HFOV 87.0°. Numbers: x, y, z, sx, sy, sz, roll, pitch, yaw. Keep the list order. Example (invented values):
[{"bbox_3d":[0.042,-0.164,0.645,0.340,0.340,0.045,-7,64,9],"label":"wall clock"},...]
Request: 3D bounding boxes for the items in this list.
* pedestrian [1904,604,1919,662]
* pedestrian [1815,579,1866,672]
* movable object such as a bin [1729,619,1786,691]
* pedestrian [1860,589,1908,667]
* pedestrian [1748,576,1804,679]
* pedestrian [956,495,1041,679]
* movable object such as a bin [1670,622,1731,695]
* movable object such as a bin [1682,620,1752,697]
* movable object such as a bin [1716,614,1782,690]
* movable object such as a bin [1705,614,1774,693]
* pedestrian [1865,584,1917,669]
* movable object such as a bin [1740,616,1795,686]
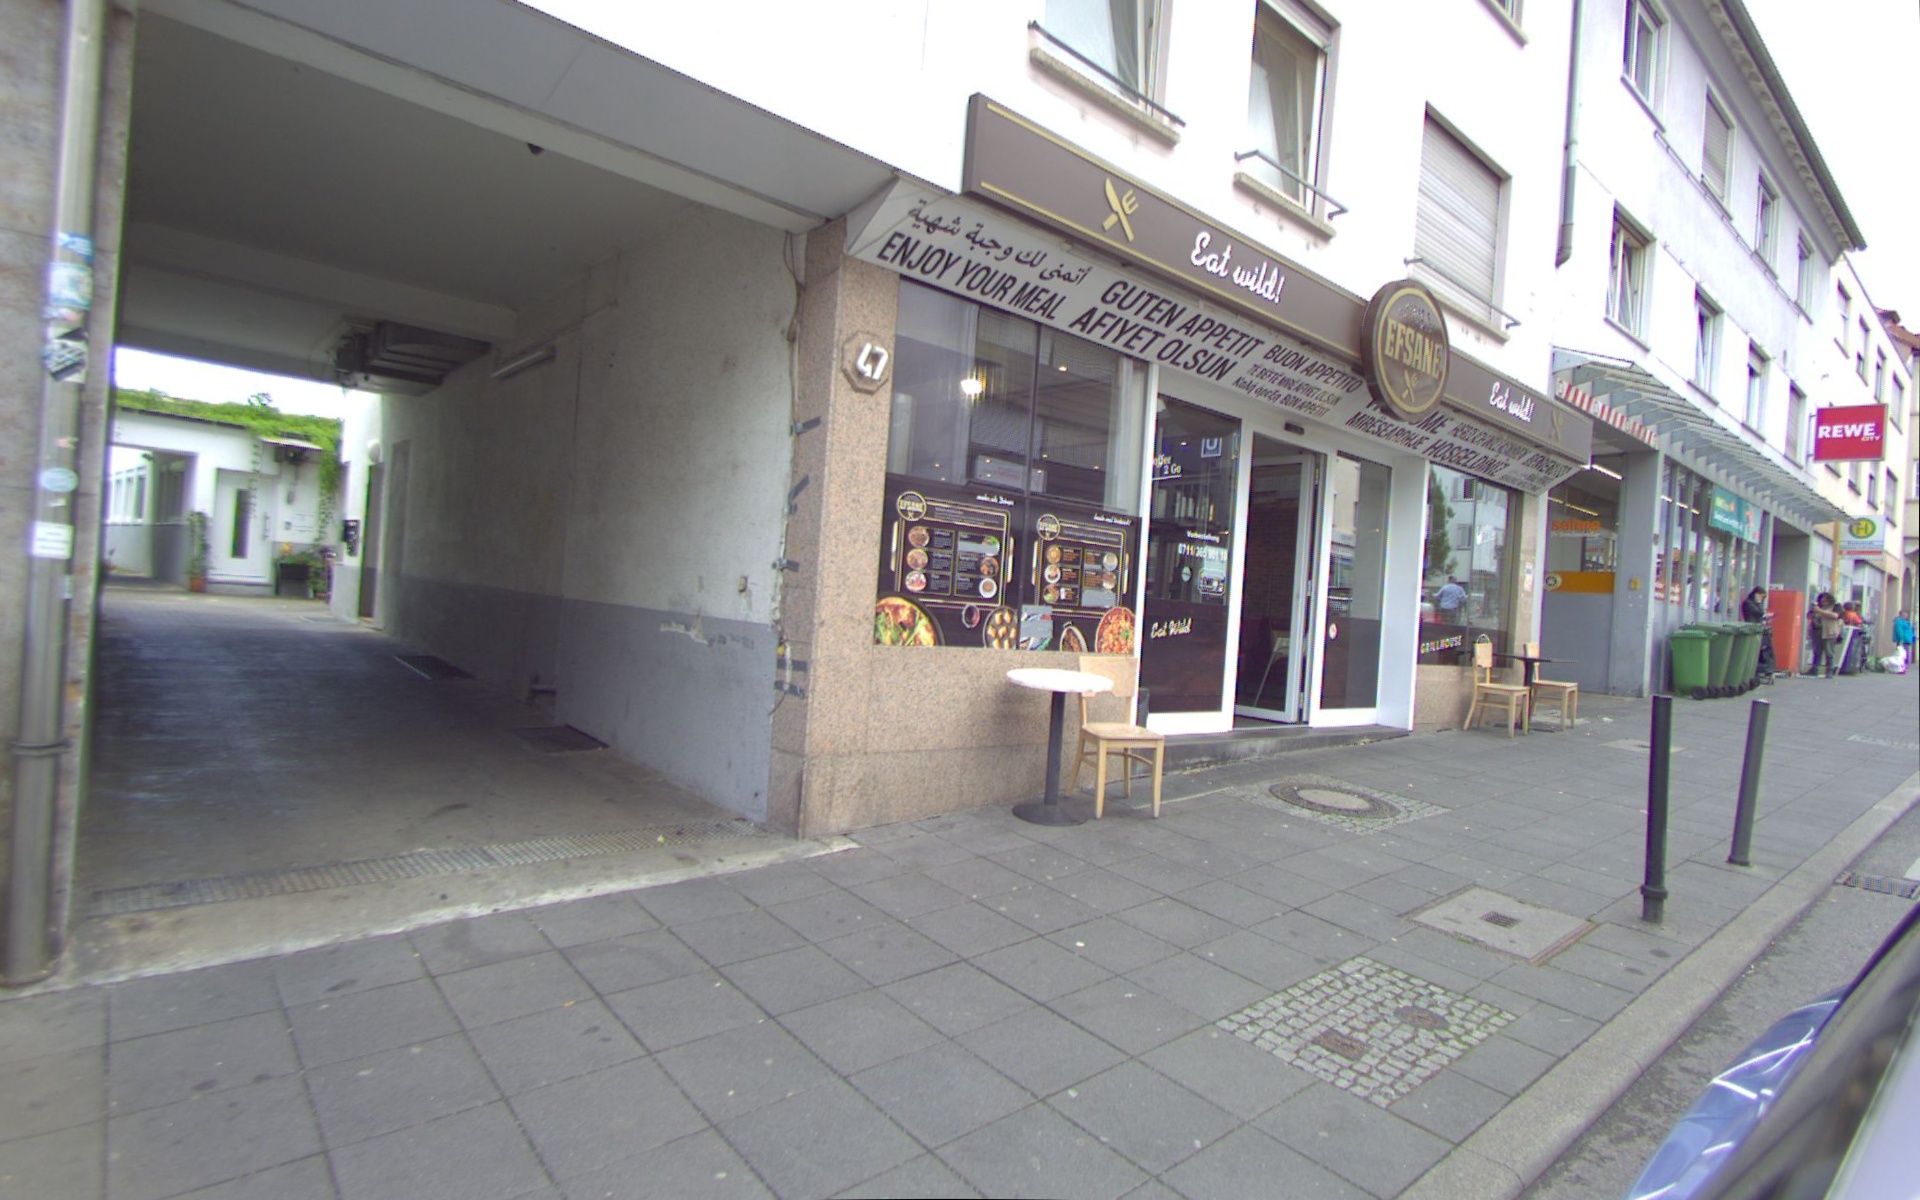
[{"bbox_3d":[27.386,0.936,28.902,0.625,1.650,0.597,0,0,44],"label":"pedestrian"},{"bbox_3d":[17.345,0.486,19.938,0.626,1.746,0.597,5,3,44],"label":"pedestrian"},{"bbox_3d":[12.567,0.847,15.942,0.564,1.073,0.569,1,1,-40],"label":"movable object such as a bin"},{"bbox_3d":[20.949,0.625,22.950,0.599,1.747,0.623,0,0,20],"label":"pedestrian"},{"bbox_3d":[14.112,0.463,17.512,0.621,1.747,0.601,0,0,26],"label":"pedestrian"},{"bbox_3d":[0.385,-0.131,10.009,0.621,1.747,0.601,1,0,26],"label":"pedestrian"},{"bbox_3d":[10.516,0.814,14.367,0.489,0.968,0.568,1,1,-40],"label":"movable object such as a bin"},{"bbox_3d":[10.992,0.831,14.699,0.550,1.043,0.670,1,1,-40],"label":"movable object such as a bin"},{"bbox_3d":[12.098,0.780,15.517,0.648,1.094,0.652,1,1,-40],"label":"movable object such as a bin"},{"bbox_3d":[11.584,0.780,15.040,0.661,1.094,0.652,1,1,-41],"label":"movable object such as a bin"},{"bbox_3d":[20.529,0.569,22.327,0.618,1.845,0.604,0,0,15],"label":"pedestrian"},{"bbox_3d":[13.009,0.808,16.308,0.549,1.070,0.559,1,1,-40],"label":"movable object such as a bin"}]
